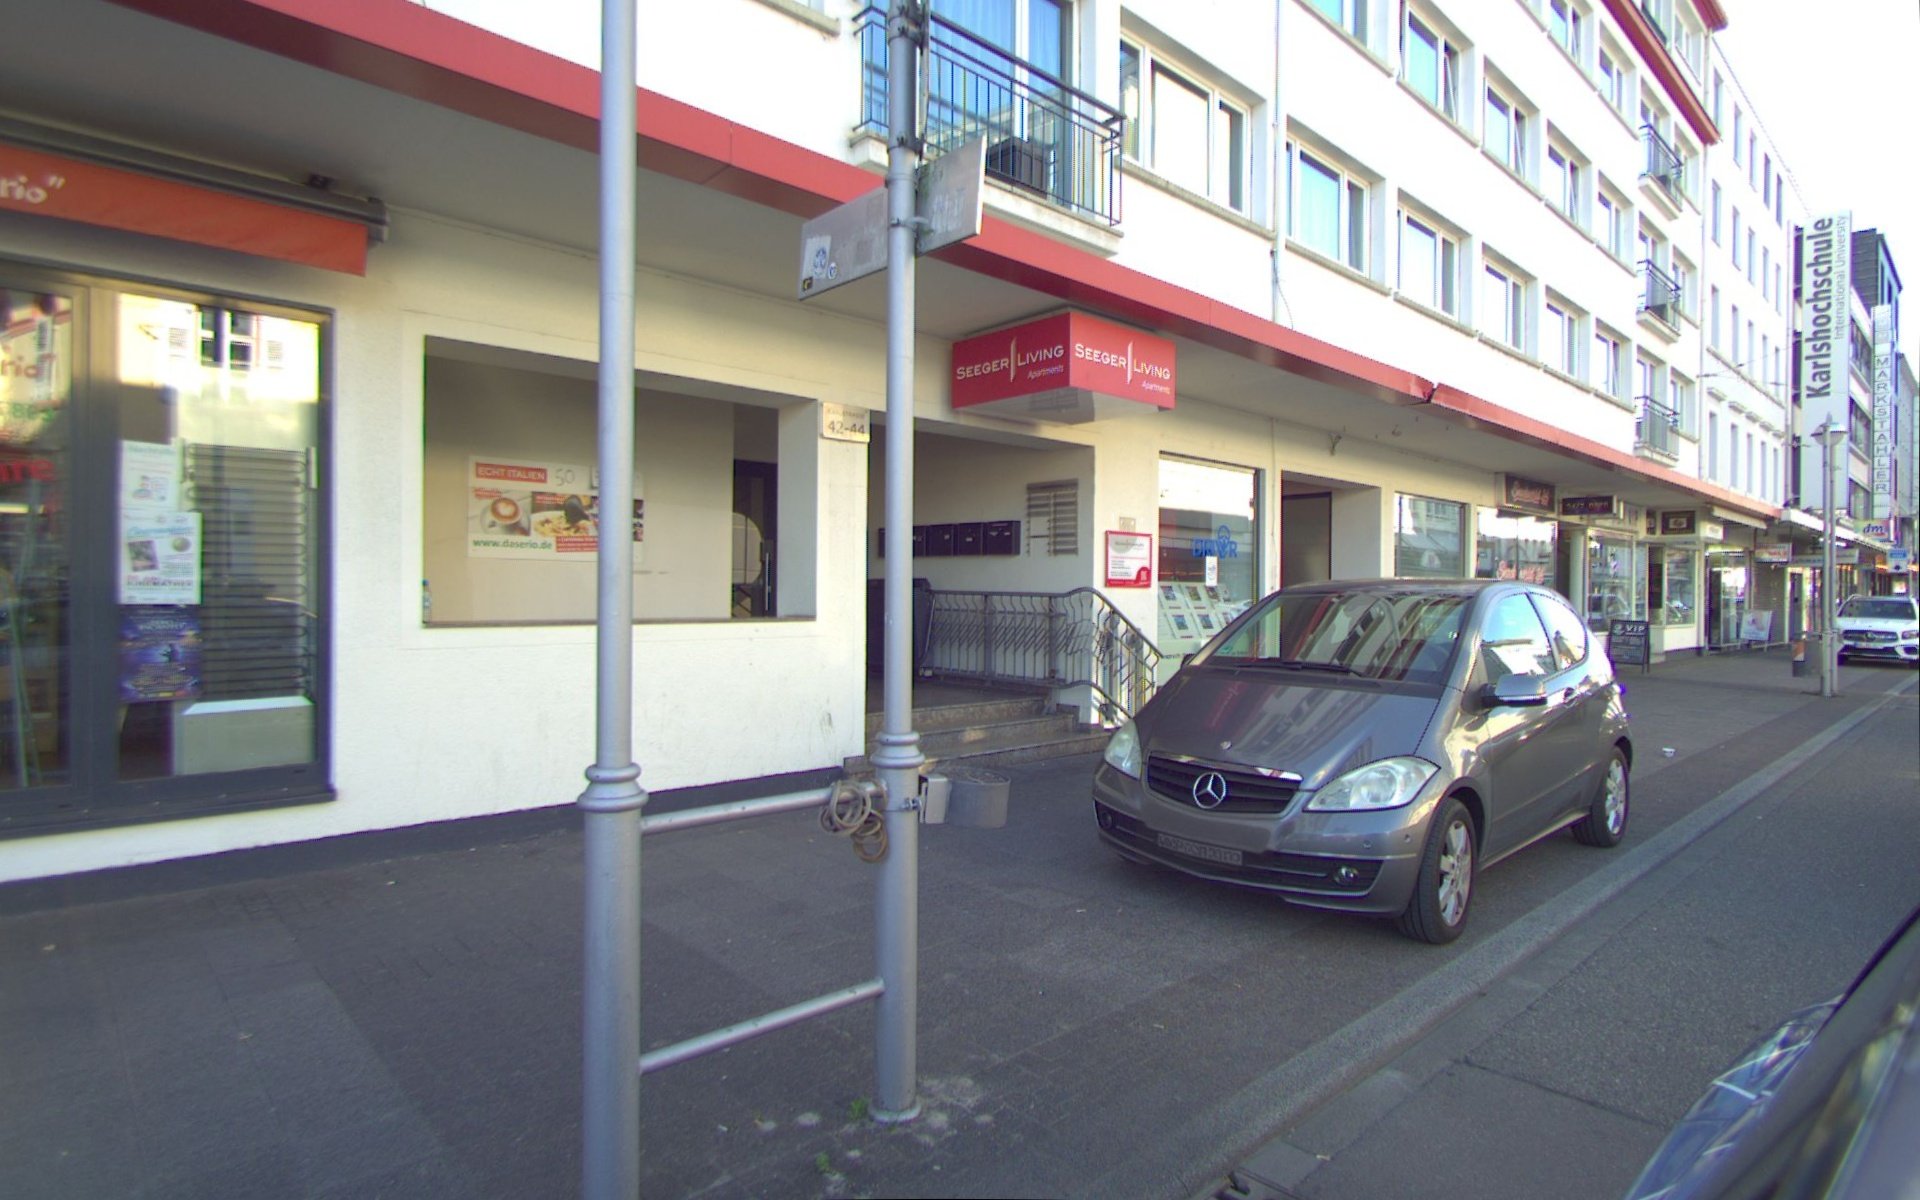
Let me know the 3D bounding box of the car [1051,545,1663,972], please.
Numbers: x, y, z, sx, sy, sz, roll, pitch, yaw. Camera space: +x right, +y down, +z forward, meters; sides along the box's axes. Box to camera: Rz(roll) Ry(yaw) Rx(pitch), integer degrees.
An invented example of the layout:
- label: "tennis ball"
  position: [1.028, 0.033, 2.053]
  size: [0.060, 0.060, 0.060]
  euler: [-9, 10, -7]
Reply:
- label: "car"
  position: [2.449, 0.582, 5.683]
  size: [3.932, 1.565, 1.681]
  euler: [0, 0, -43]

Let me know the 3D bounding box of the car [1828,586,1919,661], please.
- label: "car"
  position: [22.388, 0.518, 24.349]
  size: [1.994, 1.650, 3.935]
  euler: [1, 1, 45]
